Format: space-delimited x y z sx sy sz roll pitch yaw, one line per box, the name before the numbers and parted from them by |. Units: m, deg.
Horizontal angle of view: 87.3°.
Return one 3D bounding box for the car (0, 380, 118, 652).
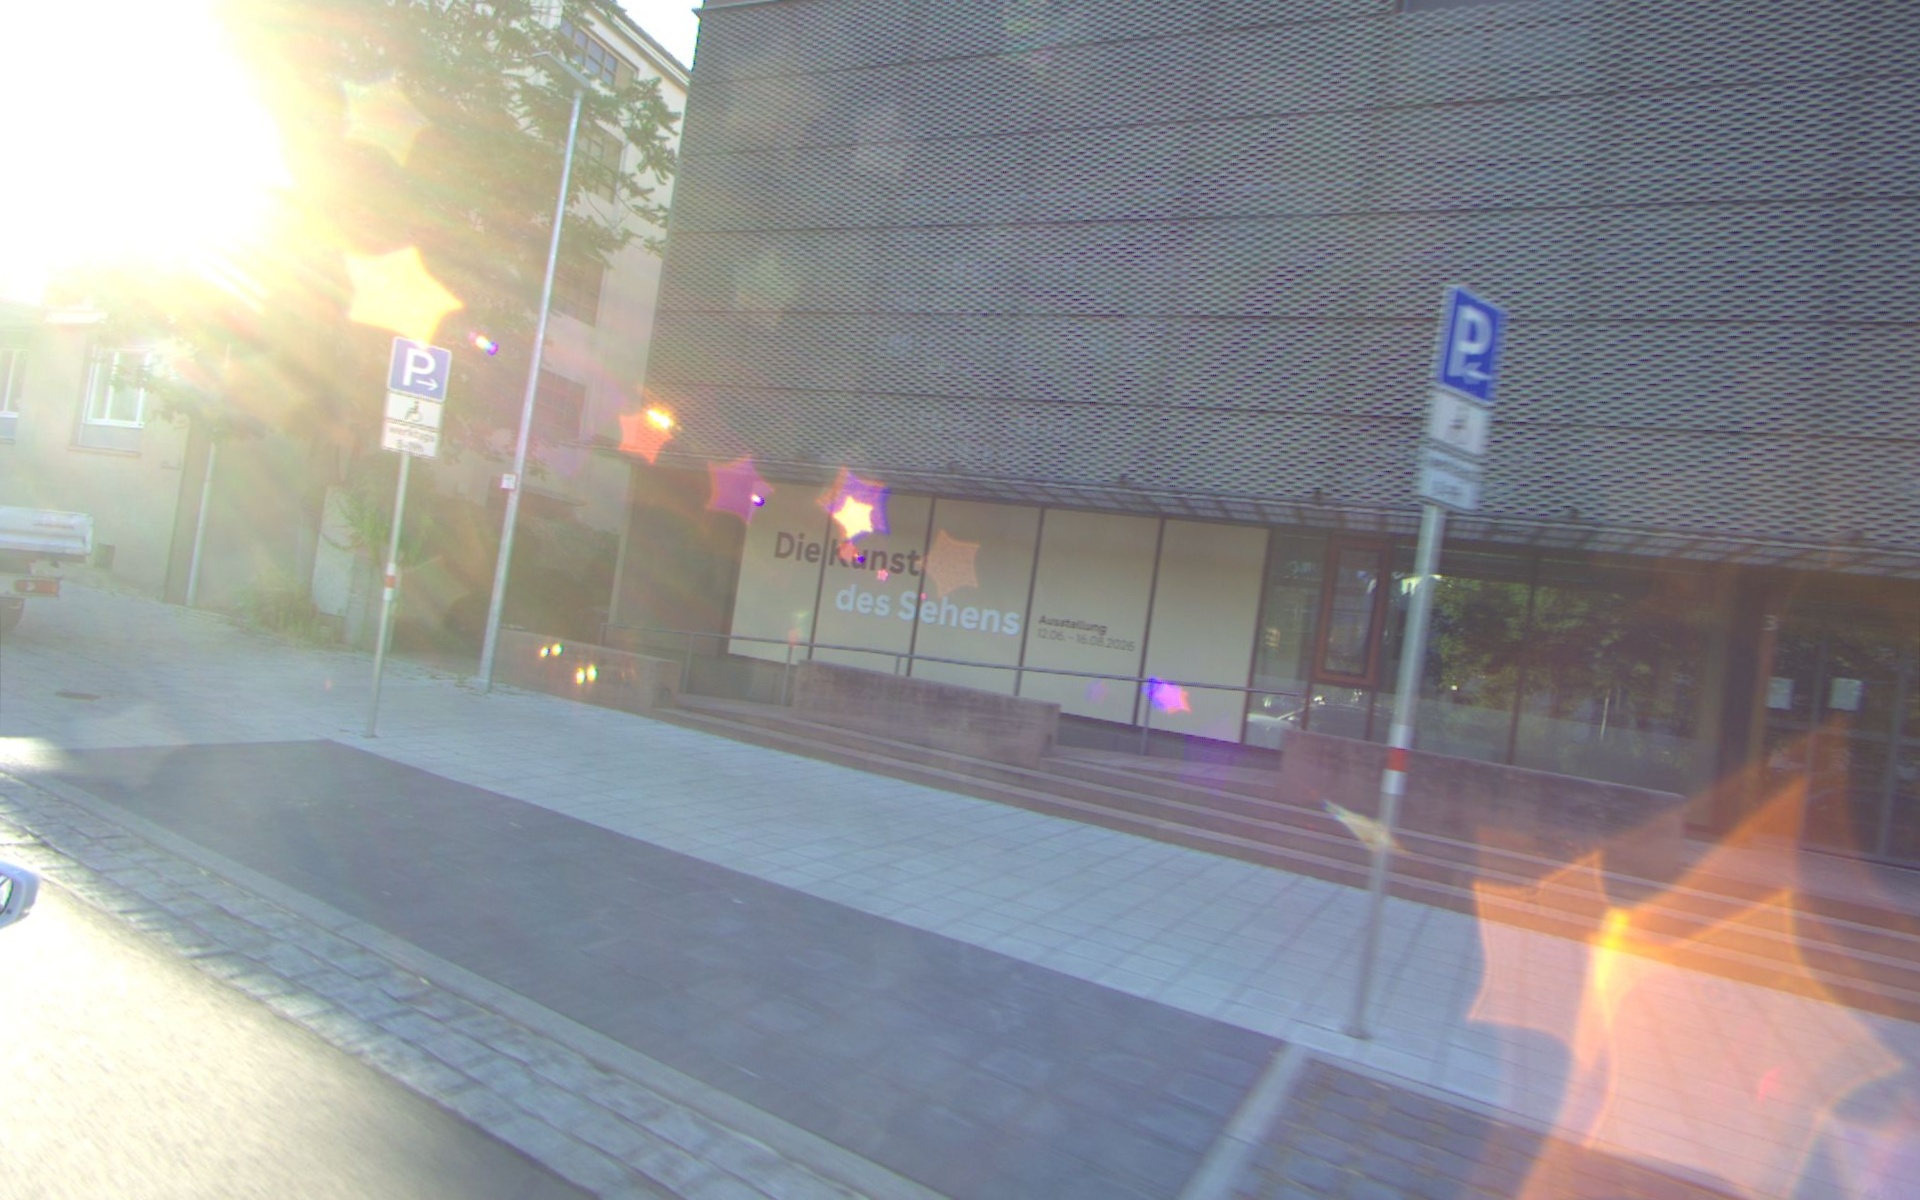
car | -11.919 -1.164 10.810 6.041 2.561 2.215 8 1 29
